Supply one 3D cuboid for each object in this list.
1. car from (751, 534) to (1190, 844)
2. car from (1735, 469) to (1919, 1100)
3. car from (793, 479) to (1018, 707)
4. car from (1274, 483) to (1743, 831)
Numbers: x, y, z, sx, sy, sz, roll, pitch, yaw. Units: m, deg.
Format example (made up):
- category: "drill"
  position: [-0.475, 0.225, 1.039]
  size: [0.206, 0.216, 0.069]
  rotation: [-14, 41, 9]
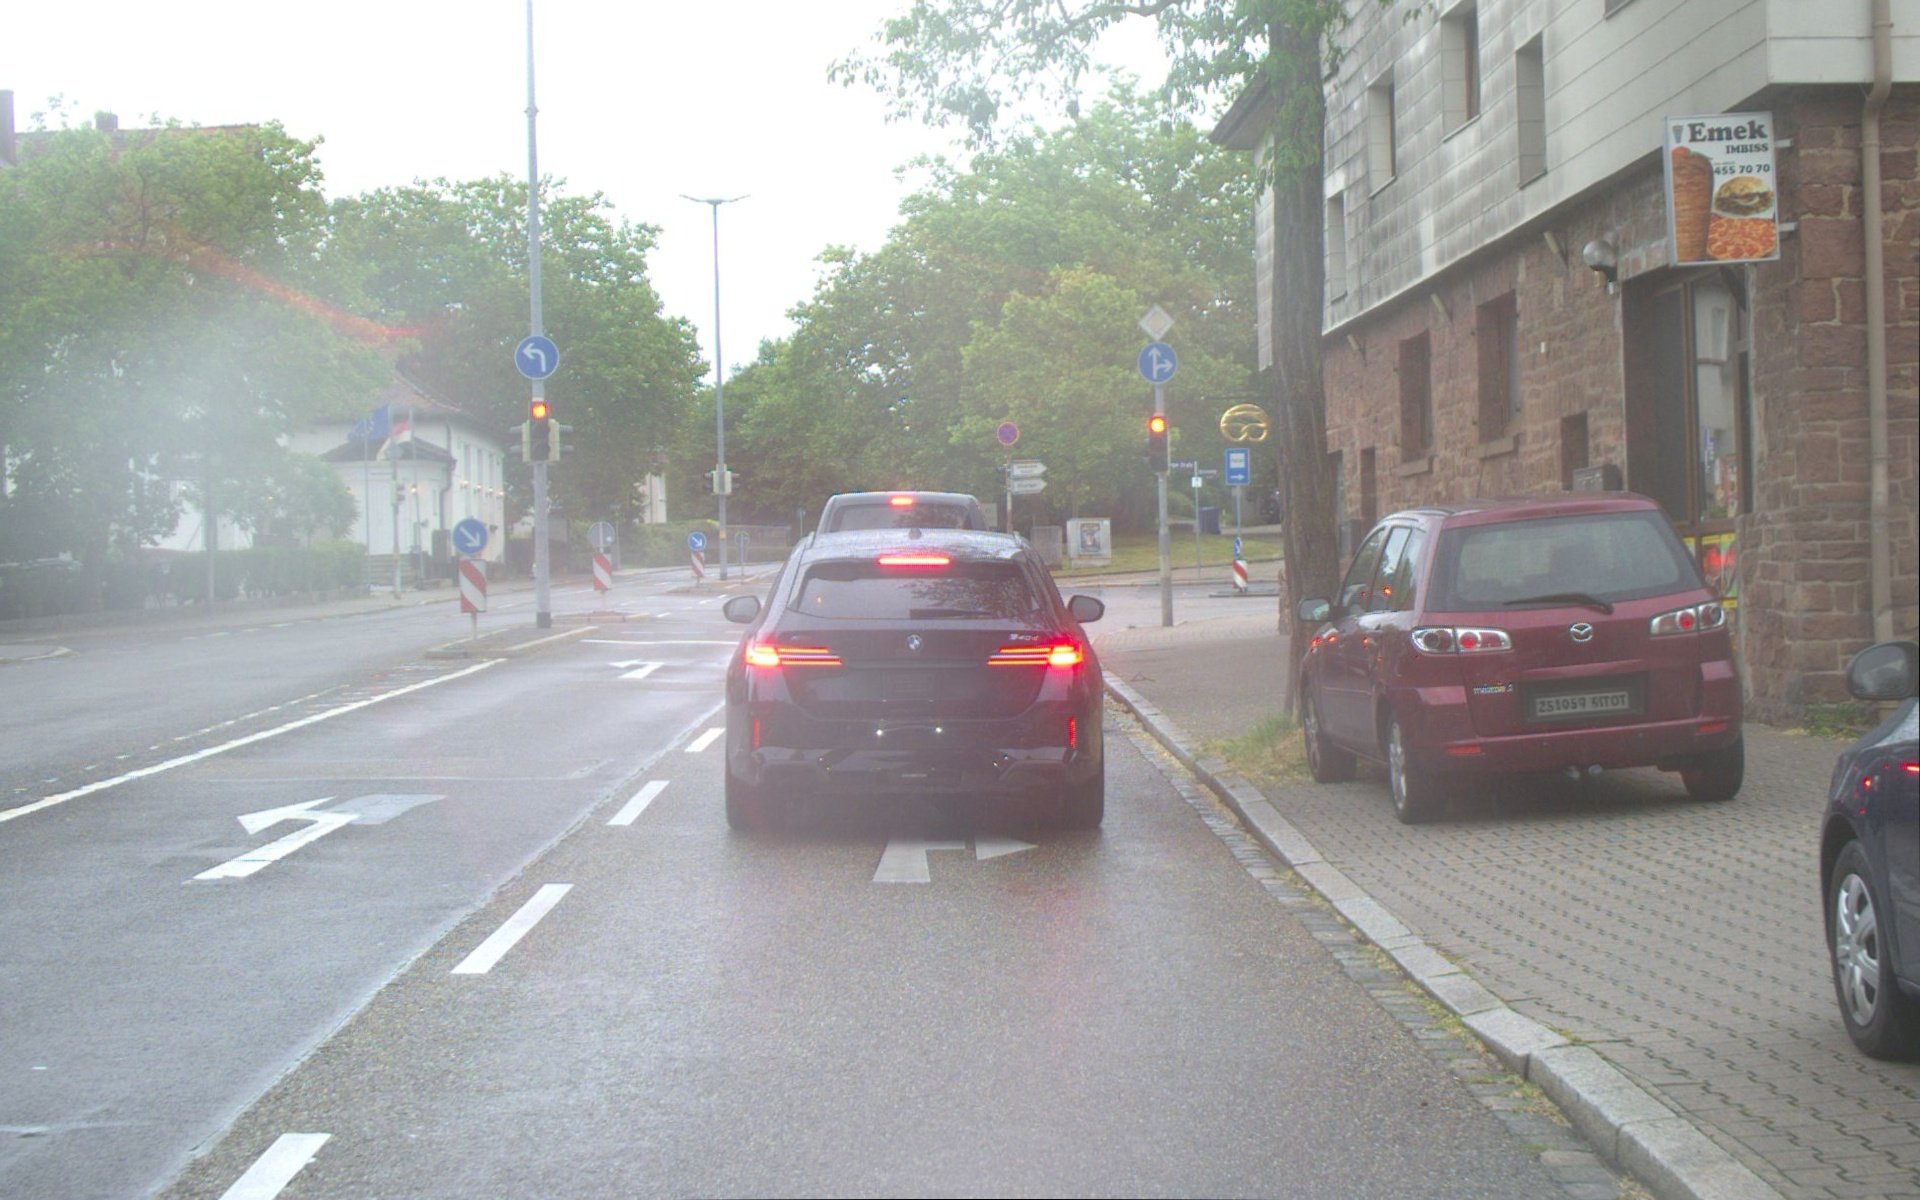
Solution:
- category: "car"
  position: [-0.045, 0.374, 18.435]
  size: [2.064, 1.441, 4.484]
  rotation: [0, 1, -2]
- category: "car"
  position: [3.014, 0.403, 7.647]
  size: [1.604, 1.467, 3.856]
  rotation: [-4, 2, 0]
- category: "car"
  position: [-0.515, -0.112, 29.675]
  size: [1.783, 1.811, 4.001]
  rotation: [-1, 2, -2]
- category: "car"
  position: [2.687, 0.199, 17.600]
  size: [1.584, 1.485, 3.628]
  rotation: [-4, 2, -2]
